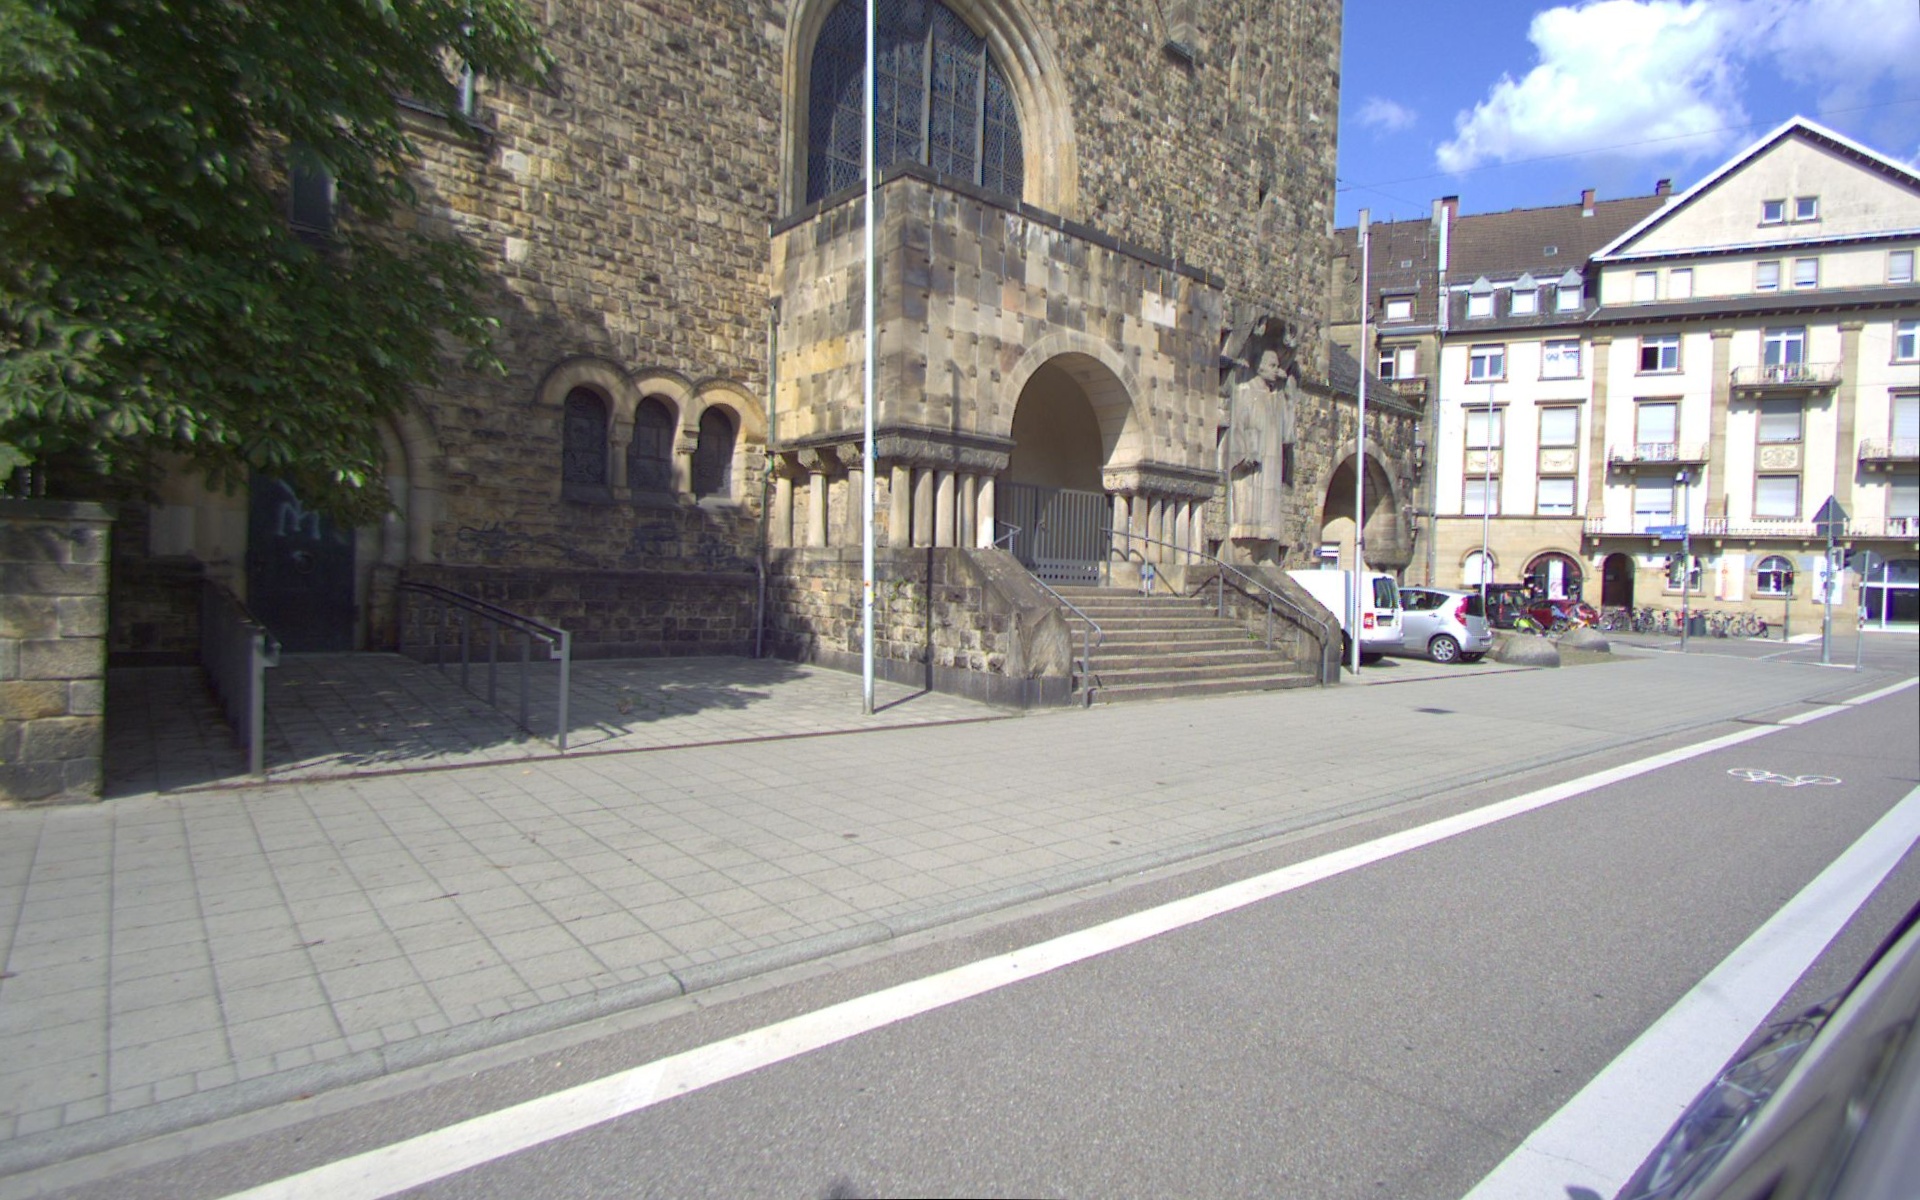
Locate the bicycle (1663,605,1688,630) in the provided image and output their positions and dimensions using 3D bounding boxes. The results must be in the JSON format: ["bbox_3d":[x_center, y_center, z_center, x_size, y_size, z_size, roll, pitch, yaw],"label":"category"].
[{"bbox_3d":[33.379,0.820,47.245,0.534,1.030,1.914,2,4,23],"label":"bicycle"}]

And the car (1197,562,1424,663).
[{"bbox_3d":[7.144,0.190,20.891,1.832,1.846,4.008,1,1,-42],"label":"car"}]

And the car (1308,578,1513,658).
[{"bbox_3d":[9.980,0.340,22.599,1.766,1.566,3.773,1,1,-41],"label":"car"}]

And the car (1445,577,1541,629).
[{"bbox_3d":[26.002,0.082,49.527,1.927,2.106,4.013,0,6,-12],"label":"car"}]

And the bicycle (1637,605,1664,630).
[{"bbox_3d":[31.802,0.796,46.645,0.533,1.030,1.917,2,4,20],"label":"bicycle"}]

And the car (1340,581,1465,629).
[{"bbox_3d":[18.370,0.179,42.192,4.613,1.761,1.800,2,1,24],"label":"car"}]

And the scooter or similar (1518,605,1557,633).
[{"bbox_3d":[21.676,0.717,38.000,1.117,0.989,0.884,2,1,20],"label":"scooter or similar"}]

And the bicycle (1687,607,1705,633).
[{"bbox_3d":[33.370,0.903,45.886,0.537,1.030,1.903,3,4,38],"label":"bicycle"}]

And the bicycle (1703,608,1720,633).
[{"bbox_3d":[33.943,0.915,45.719,0.537,1.031,1.903,3,4,38],"label":"bicycle"}]

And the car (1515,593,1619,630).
[{"bbox_3d":[28.671,0.529,47.949,1.927,1.458,4.010,0,3,-12],"label":"car"}]

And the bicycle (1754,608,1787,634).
[{"bbox_3d":[36.487,0.930,45.584,0.602,1.031,1.865,2,3,21],"label":"bicycle"}]

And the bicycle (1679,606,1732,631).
[{"bbox_3d":[34.733,0.844,47.180,1.911,1.030,0.535,2,3,29],"label":"bicycle"}]

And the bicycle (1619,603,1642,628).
[{"bbox_3d":[31.601,0.711,47.712,0.534,1.030,1.914,2,4,23],"label":"bicycle"}]

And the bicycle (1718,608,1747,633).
[{"bbox_3d":[34.454,0.901,45.121,1.844,1.031,0.602,-2,4,-40],"label":"bicycle"}]

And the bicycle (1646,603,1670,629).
[{"bbox_3d":[32.749,0.740,47.508,0.534,1.030,1.914,2,4,23],"label":"bicycle"}]

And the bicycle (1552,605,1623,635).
[{"bbox_3d":[23.278,0.747,37.555,2.108,1.001,0.648,2,1,21],"label":"bicycle"}]

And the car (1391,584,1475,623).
[{"bbox_3d":[23.572,0.145,50.576,1.675,1.688,4.010,0,3,-12],"label":"car"}]

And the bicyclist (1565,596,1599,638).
[{"bbox_3d":[23.108,0.635,37.622,0.911,1.523,0.648,2,-1,21],"label":"bicyclist"}]

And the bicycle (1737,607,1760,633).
[{"bbox_3d":[35.813,0.900,45.982,0.605,1.031,1.855,3,4,33],"label":"bicycle"}]

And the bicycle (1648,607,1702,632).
[{"bbox_3d":[31.787,0.867,45.012,1.896,1.030,0.539,1,3,9],"label":"bicycle"}]
